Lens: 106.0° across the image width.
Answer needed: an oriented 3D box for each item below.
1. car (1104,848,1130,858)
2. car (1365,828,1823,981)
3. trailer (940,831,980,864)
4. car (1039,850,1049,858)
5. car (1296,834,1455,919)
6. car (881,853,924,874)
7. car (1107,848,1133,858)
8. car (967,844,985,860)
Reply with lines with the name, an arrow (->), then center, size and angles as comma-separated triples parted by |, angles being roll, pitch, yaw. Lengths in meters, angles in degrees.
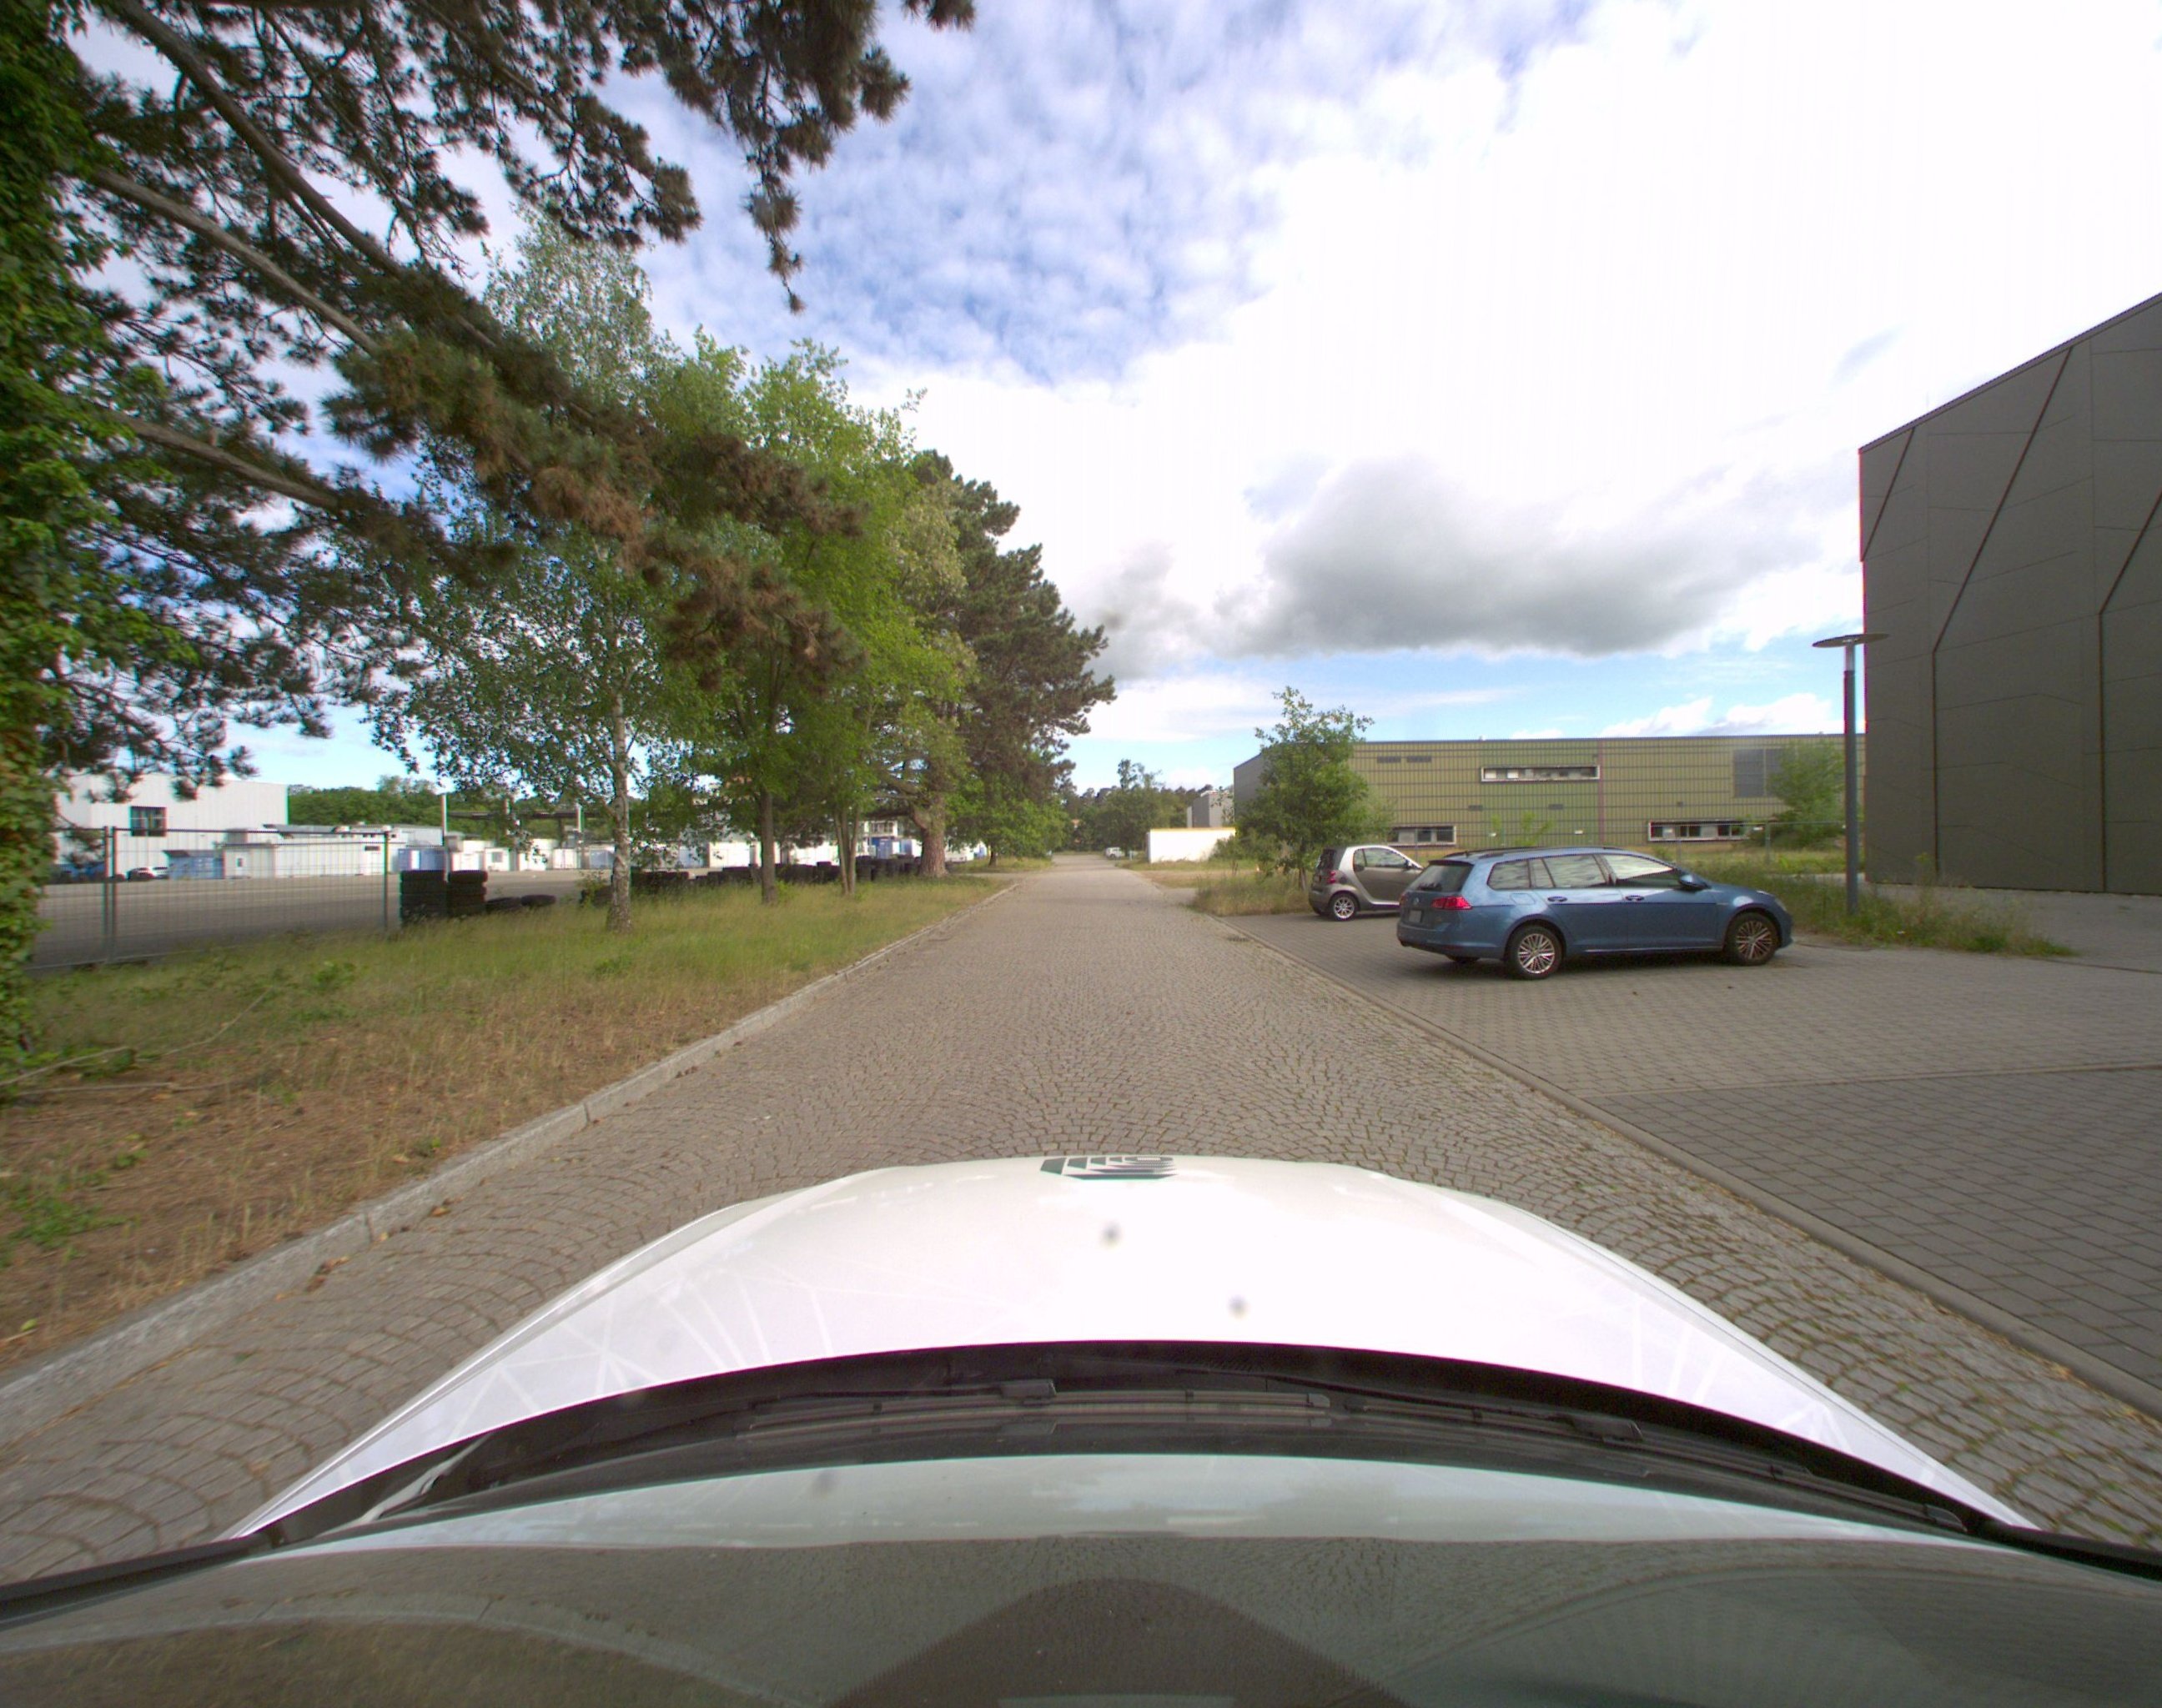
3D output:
car -> 5.667, -0.228, 126.950 | 3.974, 1.455, 1.697 | -2, 0, 0
car -> 6.160, 0.560, 10.169 | 4.513, 1.450, 1.930 | -3, 0, -2
trailer -> -14.302, -0.755, 97.112 | 2.646, 3.705, 10.728 | -1, 0, 2
car -> -6.723, 0.061, 148.531 | 1.744, 1.364, 3.996 | -1, 0, -2
car -> 6.231, 0.455, 17.458 | 2.732, 1.582, 1.682 | -3, 0, 0
car -> -12.872, 0.665, 59.014 | 1.815, 1.431, 4.226 | -1, 0, 6
car -> 5.960, -0.181, 124.785 | 3.974, 1.455, 2.000 | -1, -1, 0
car -> -17.610, -0.306, 136.913 | 1.985, 2.523, 5.623 | -1, 0, 3
